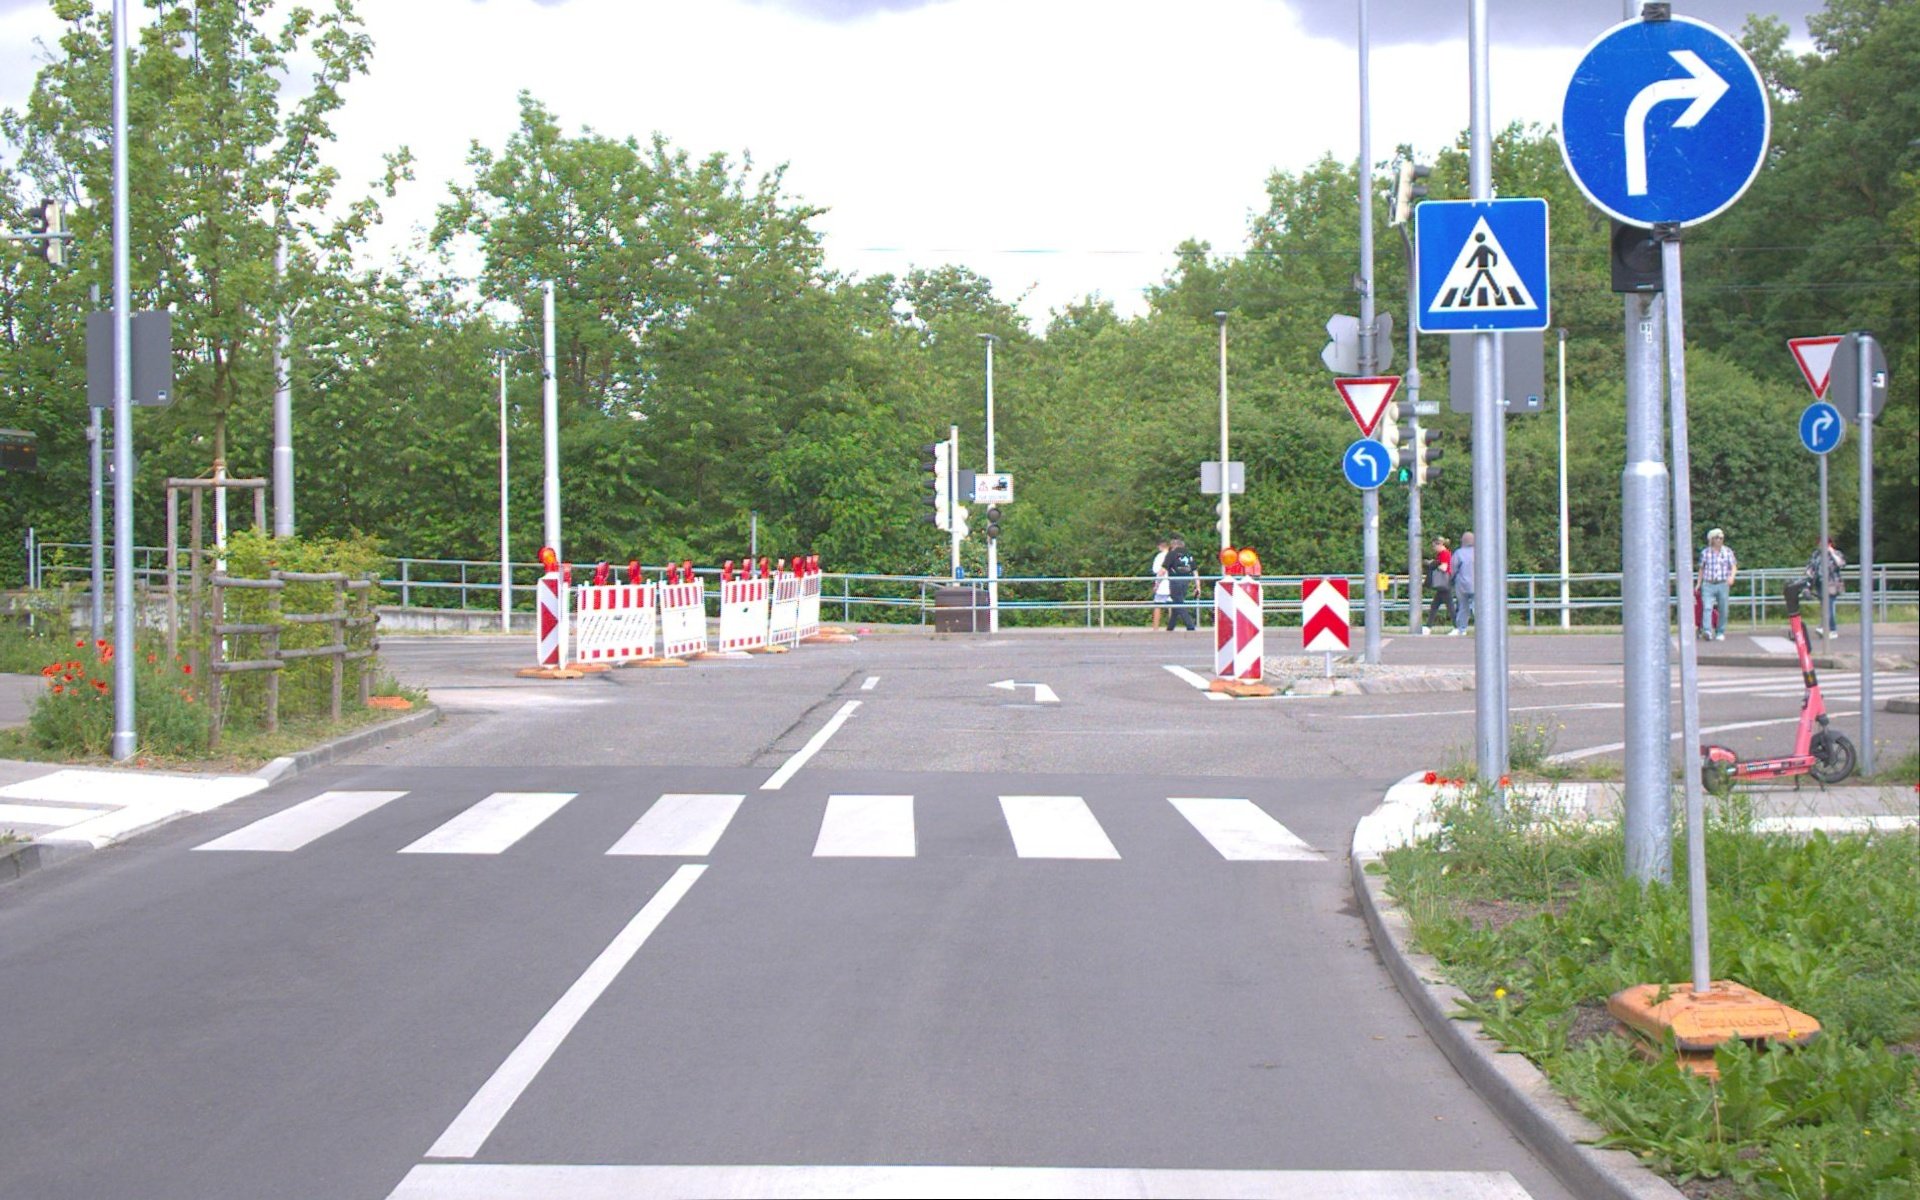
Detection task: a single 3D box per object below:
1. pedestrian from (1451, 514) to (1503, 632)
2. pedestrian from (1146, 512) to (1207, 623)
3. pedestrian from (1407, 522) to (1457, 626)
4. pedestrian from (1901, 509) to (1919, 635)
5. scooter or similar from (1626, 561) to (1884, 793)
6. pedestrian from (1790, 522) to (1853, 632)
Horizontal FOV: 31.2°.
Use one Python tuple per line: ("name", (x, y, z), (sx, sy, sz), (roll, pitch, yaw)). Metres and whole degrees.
("pedestrian", (7.710, -0.403, 51.213), (0.720, 1.742, 0.957), (0, 1, 11))
("pedestrian", (3.427, -0.509, 54.355), (0.954, 1.742, 0.722), (0, 1, 5))
("pedestrian", (7.379, -0.411, 53.708), (0.720, 1.616, 0.805), (0, 1, 11))
("pedestrian", (13.733, -0.390, 47.876), (0.956, 1.741, 1.060), (0, 1, 30))
("scooter or similar", (4.657, 0.428, 20.114), (1.520, 1.308, 0.572), (-1, 1, -33))
("pedestrian", (12.347, -0.333, 49.255), (0.691, 1.561, 0.731), (0, 1, 30))
